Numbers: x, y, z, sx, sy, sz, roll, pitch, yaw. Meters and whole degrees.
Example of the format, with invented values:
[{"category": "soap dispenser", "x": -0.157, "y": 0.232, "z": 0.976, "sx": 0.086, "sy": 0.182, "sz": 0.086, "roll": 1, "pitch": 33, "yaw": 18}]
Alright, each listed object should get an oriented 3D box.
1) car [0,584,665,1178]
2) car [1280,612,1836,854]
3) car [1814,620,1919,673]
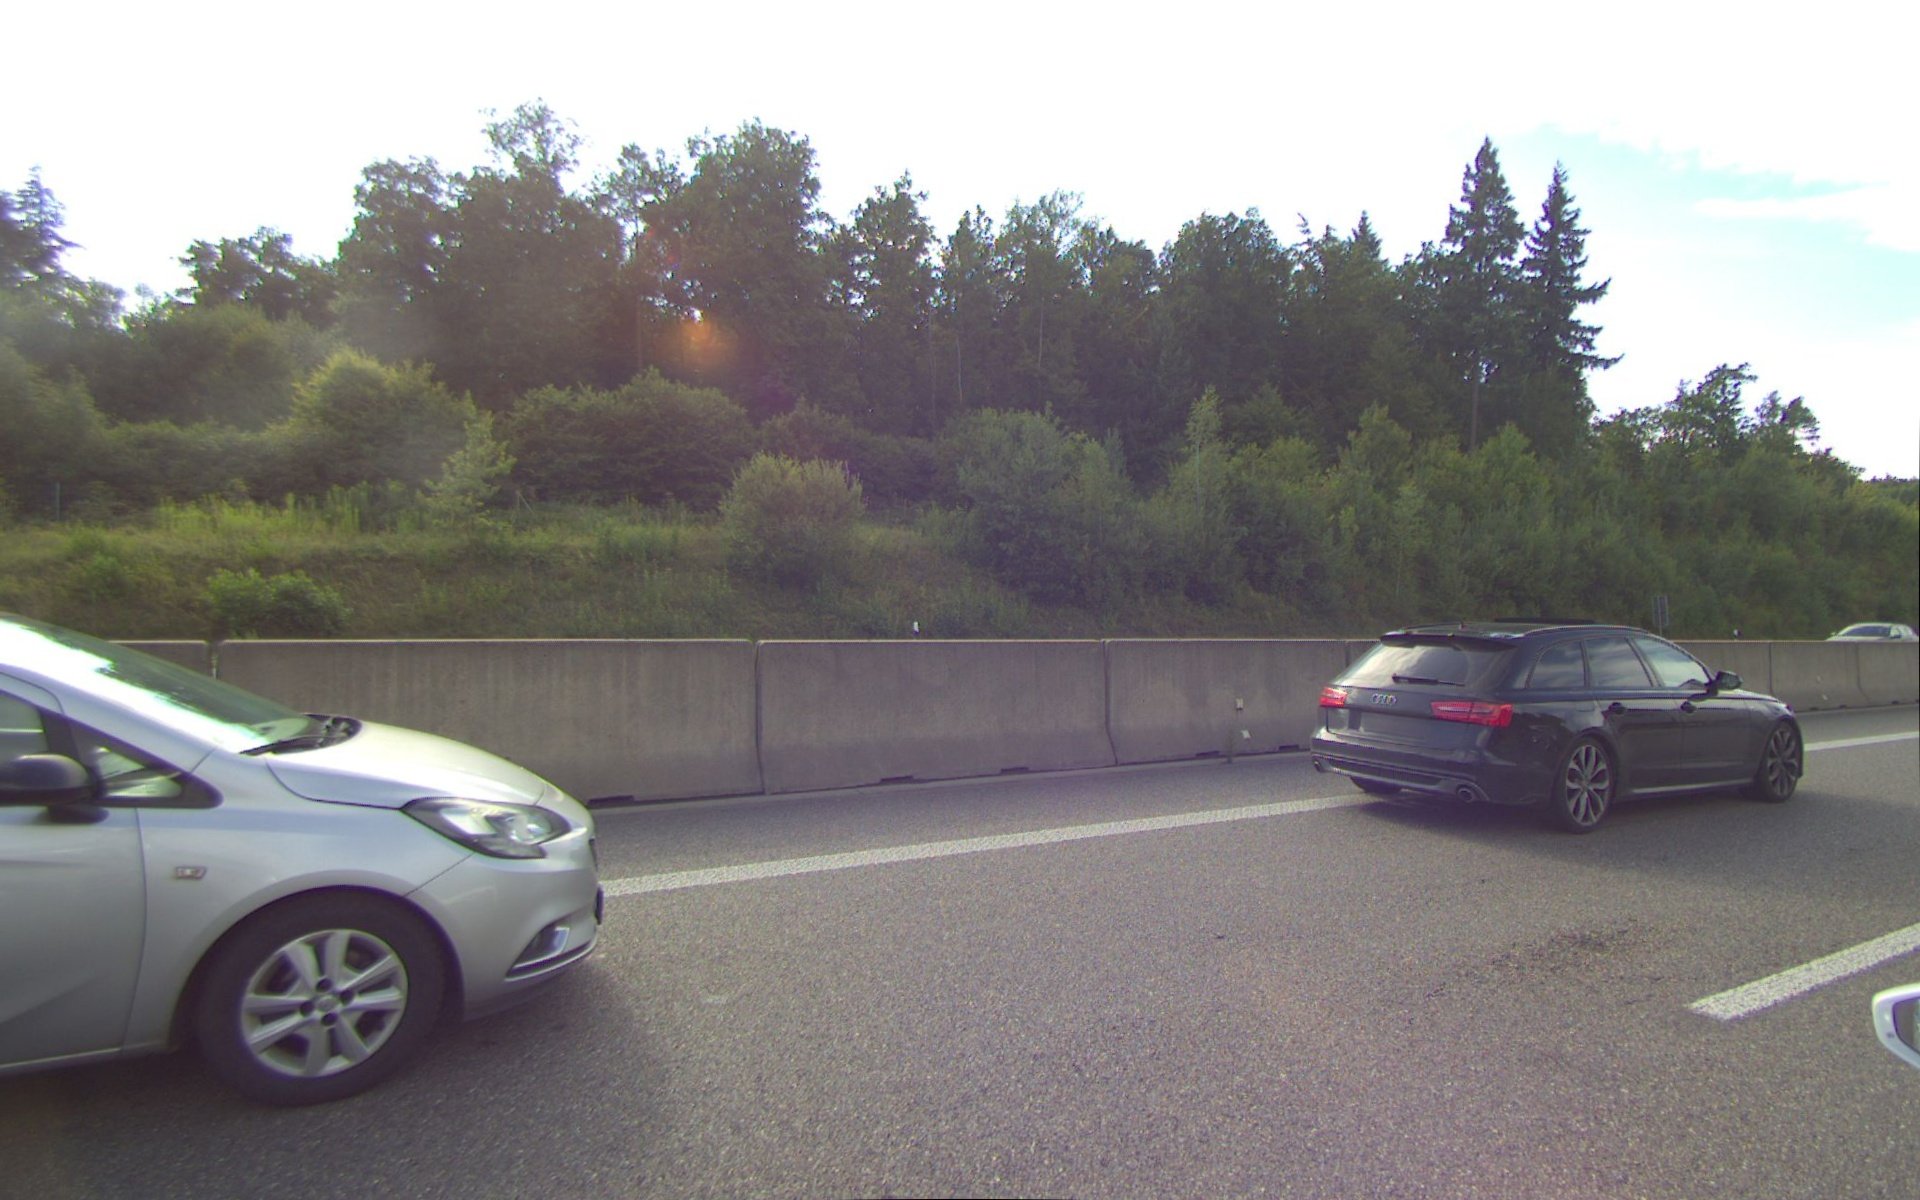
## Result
[{"category": "car", "x": -3.133, "y": 0.701, "z": 3.091, "sx": 3.993, "sy": 1.485, "sz": 1.739, "roll": 1, "pitch": -1, "yaw": -30}, {"category": "car", "x": 5.010, "y": 0.889, "z": 8.251, "sx": 4.690, "sy": 1.475, "sz": 1.834, "roll": 1, "pitch": 0, "yaw": -30}, {"category": "car", "x": 34.320, "y": 1.736, "z": 37.837, "sx": 4.570, "sy": 1.834, "sz": 1.843, "roll": 1, "pitch": 0, "yaw": -30}]
